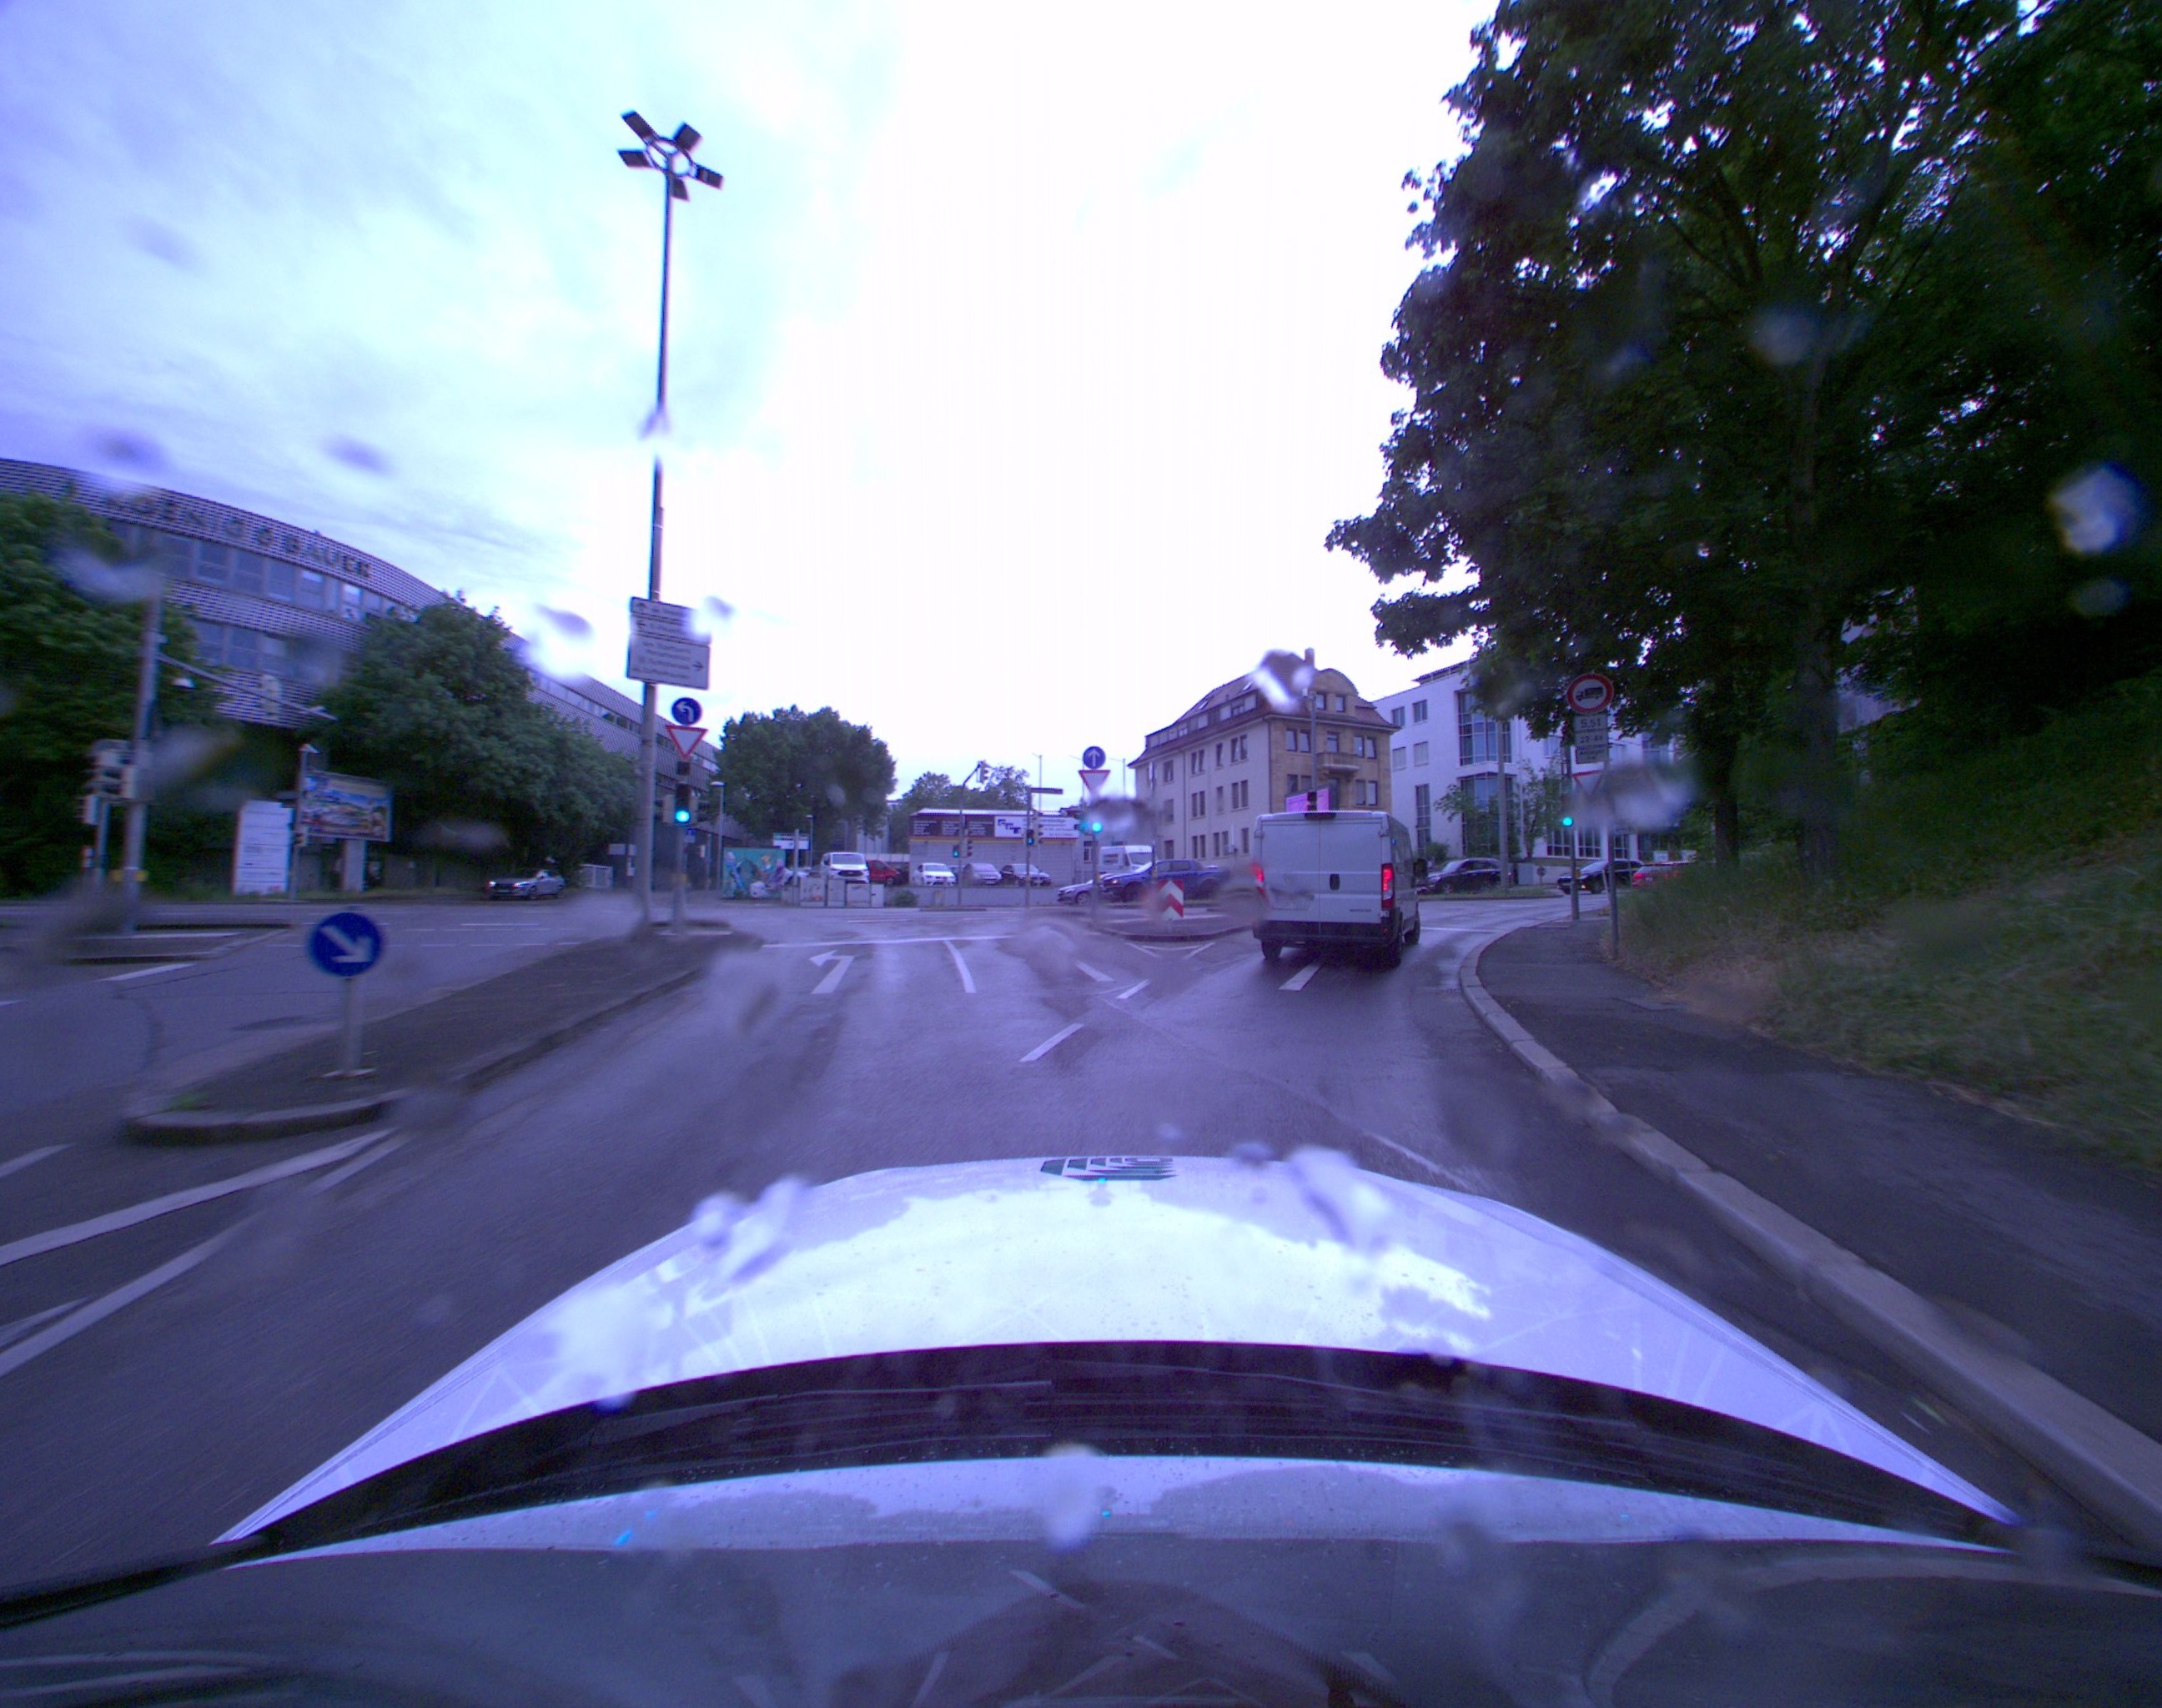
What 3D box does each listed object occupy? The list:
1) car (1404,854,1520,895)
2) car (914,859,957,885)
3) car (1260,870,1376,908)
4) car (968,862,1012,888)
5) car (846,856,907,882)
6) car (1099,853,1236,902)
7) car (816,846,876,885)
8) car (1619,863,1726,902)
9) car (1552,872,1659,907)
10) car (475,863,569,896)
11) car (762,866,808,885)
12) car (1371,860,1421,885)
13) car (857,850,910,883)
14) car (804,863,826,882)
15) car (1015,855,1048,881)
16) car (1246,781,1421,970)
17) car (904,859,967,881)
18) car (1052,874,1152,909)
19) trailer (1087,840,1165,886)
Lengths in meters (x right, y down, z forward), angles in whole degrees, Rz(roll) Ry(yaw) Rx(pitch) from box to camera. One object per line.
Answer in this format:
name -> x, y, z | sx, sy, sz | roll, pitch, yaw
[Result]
car -> 17.227, 0.922, 36.862 | 4.622, 1.698, 1.949 | -1, -3, -17
car -> -8.004, 0.954, 44.543 | 1.872, 1.369, 3.601 | 1, -1, -17
car -> 9.928, 1.496, 34.187 | 4.439, 1.531, 1.800 | 1, -4, -18
car -> -4.991, 1.117, 44.378 | 1.740, 1.369, 3.601 | 1, -1, -17
car -> -15.332, 1.142, 61.330 | 4.298, 1.861, 1.733 | 1, -4, -12
car -> 3.472, 0.949, 32.898 | 5.166, 1.819, 1.928 | 0, -4, -18
car -> -12.442, 0.675, 42.943 | 2.223, 1.802, 5.326 | 2, -4, -25
car -> 22.950, 1.122, 31.619 | 3.366, 1.426, 1.688 | 1, -3, -18
car -> 25.215, 1.727, 39.162 | 4.726, 1.605, 1.683 | 1, -4, -18
car -> -28.426, 1.288, 41.630 | 2.025, 1.600, 4.373 | 0, -1, -5
car -> -18.969, 1.385, 52.162 | 2.724, 1.105, 1.188 | 2, -4, -23
car -> 22.675, 1.343, 58.649 | 1.717, 1.676, 3.029 | 2, -4, -22
car -> -15.607, 1.007, 64.552 | 3.975, 2.499, 1.647 | 1, -4, -11
car -> -20.615, 1.446, 63.226 | 1.208, 1.304, 2.331 | 1, -4, -8
car -> -2.751, 0.780, 45.138 | 1.226, 1.424, 2.671 | 1, -1, -17
car -> 4.371, 0.274, 13.478 | 2.031, 2.516, 4.972 | 0, 0, 26
car -> -10.247, 1.137, 57.630 | 4.323, 1.407, 1.369 | -1, -4, -7
car -> 0.923, 1.656, 35.326 | 4.068, 1.459, 1.537 | 1, -4, -18
trailer -> 2.650, 0.637, 50.343 | 2.394, 2.429, 7.073 | 1, -4, -19
